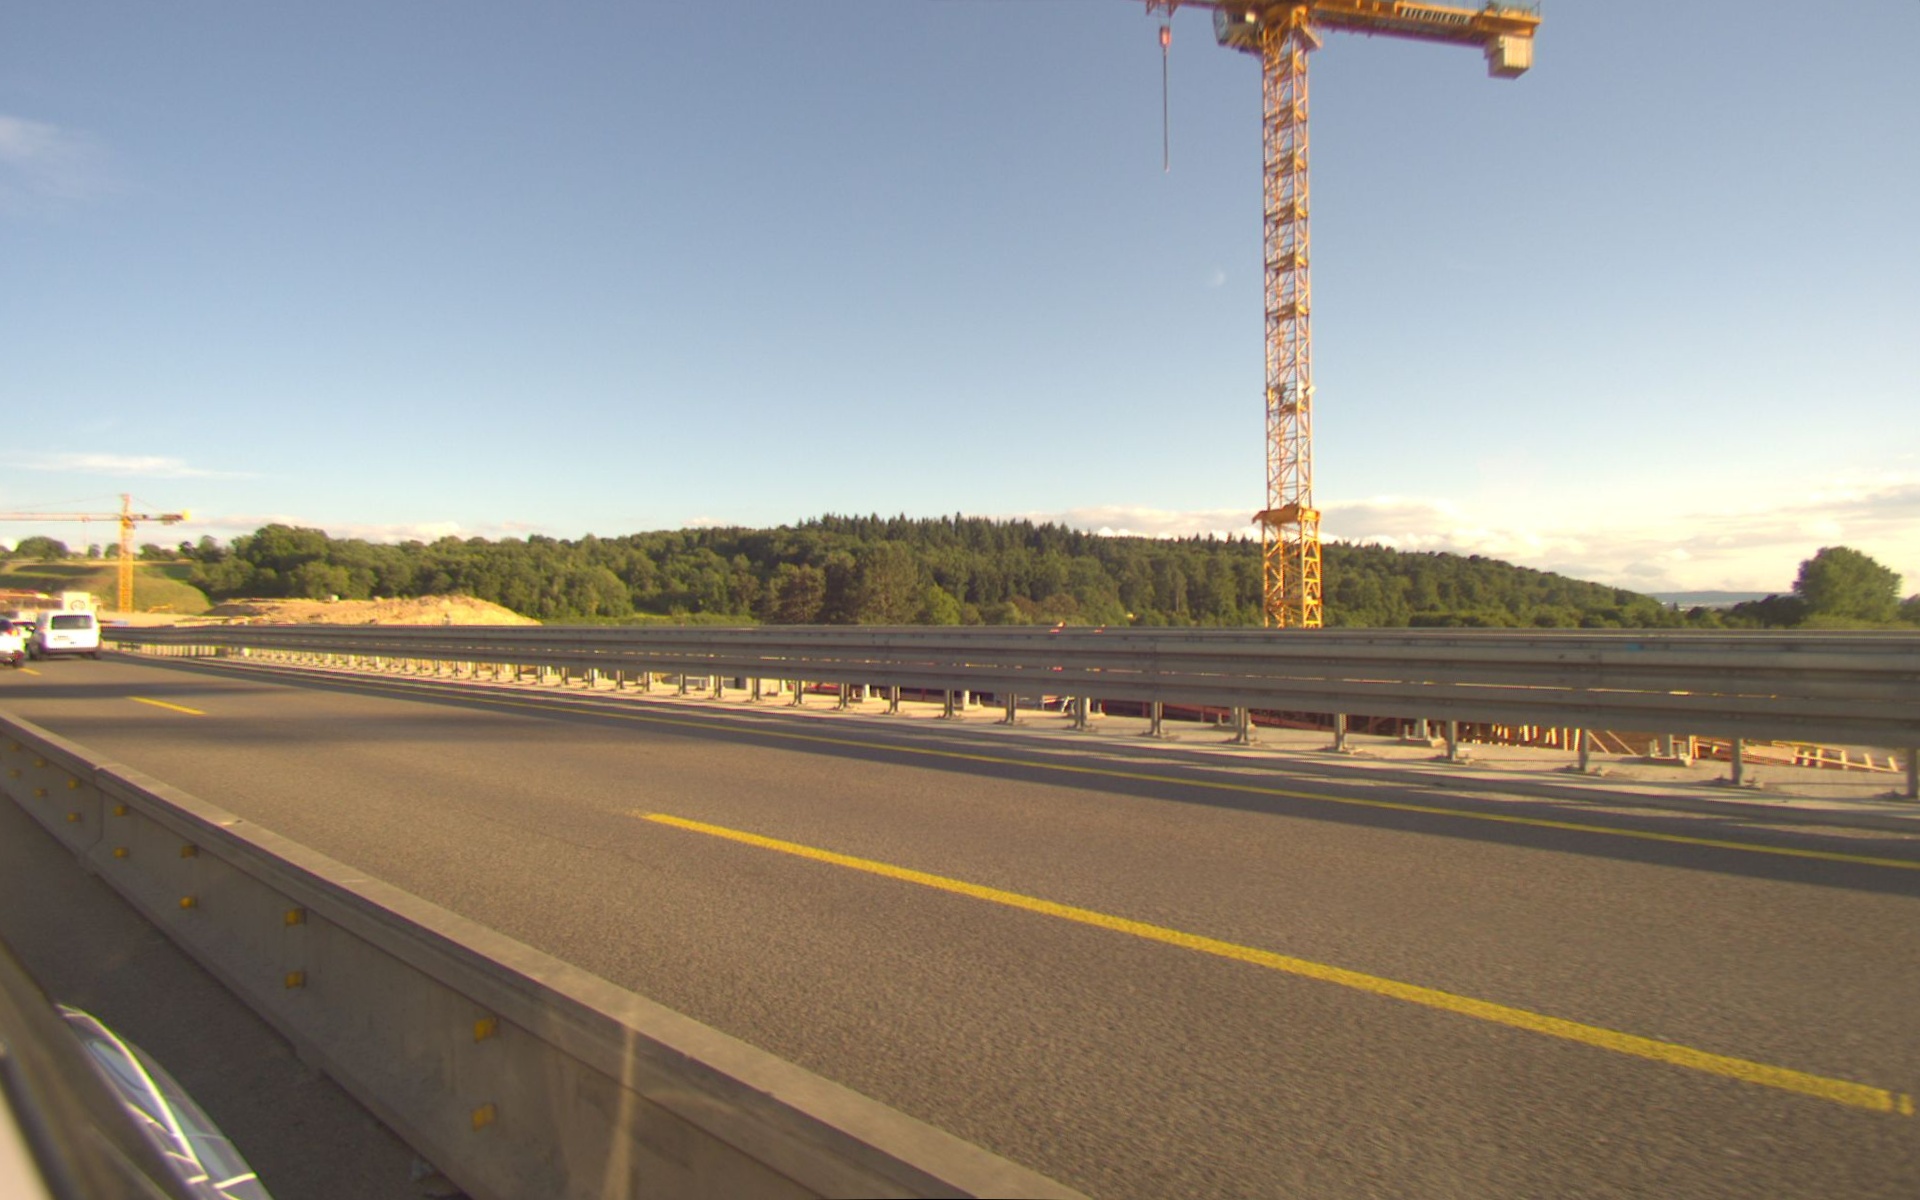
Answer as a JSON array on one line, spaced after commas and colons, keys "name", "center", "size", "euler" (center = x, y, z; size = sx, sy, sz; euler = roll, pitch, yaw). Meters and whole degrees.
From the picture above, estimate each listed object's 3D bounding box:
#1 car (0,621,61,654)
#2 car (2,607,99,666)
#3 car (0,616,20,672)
[{"name": "car", "center": [-46.854, 1.875, 50.923], "size": [4.287, 1.558, 1.908], "euler": [-2, -3, 42]}, {"name": "car", "center": [-33.545, 1.288, 37.291], "size": [4.278, 1.870, 1.974], "euler": [0, 4, 40]}, {"name": "car", "center": [-30.041, 1.325, 30.706], "size": [3.998, 1.652, 1.819], "euler": [-1, -2, 41]}]
